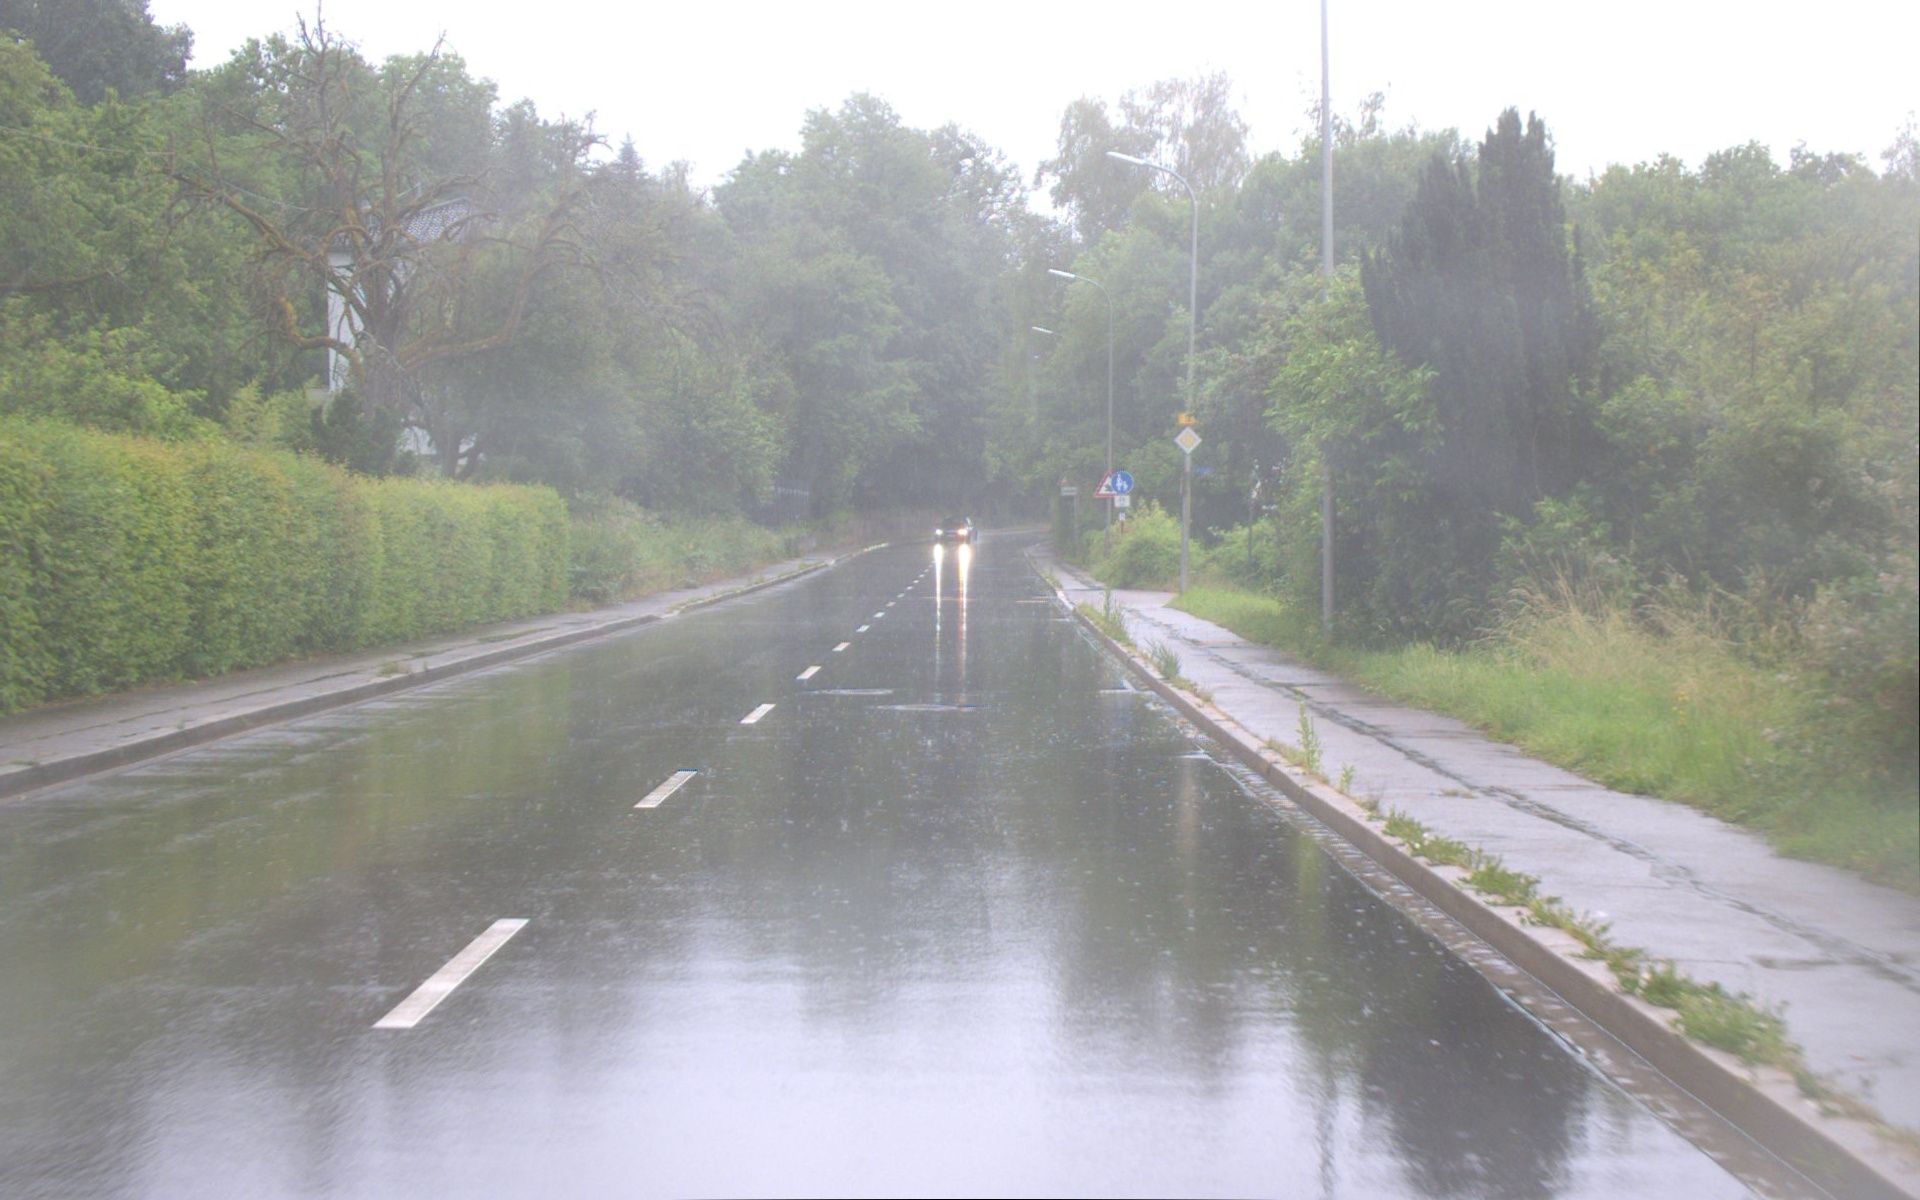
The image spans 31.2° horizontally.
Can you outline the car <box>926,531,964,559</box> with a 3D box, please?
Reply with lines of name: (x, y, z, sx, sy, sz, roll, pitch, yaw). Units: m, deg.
car: (-0.824, -3.015, 187.420, 1.993, 1.449, 4.428, 1, 2, 1)
